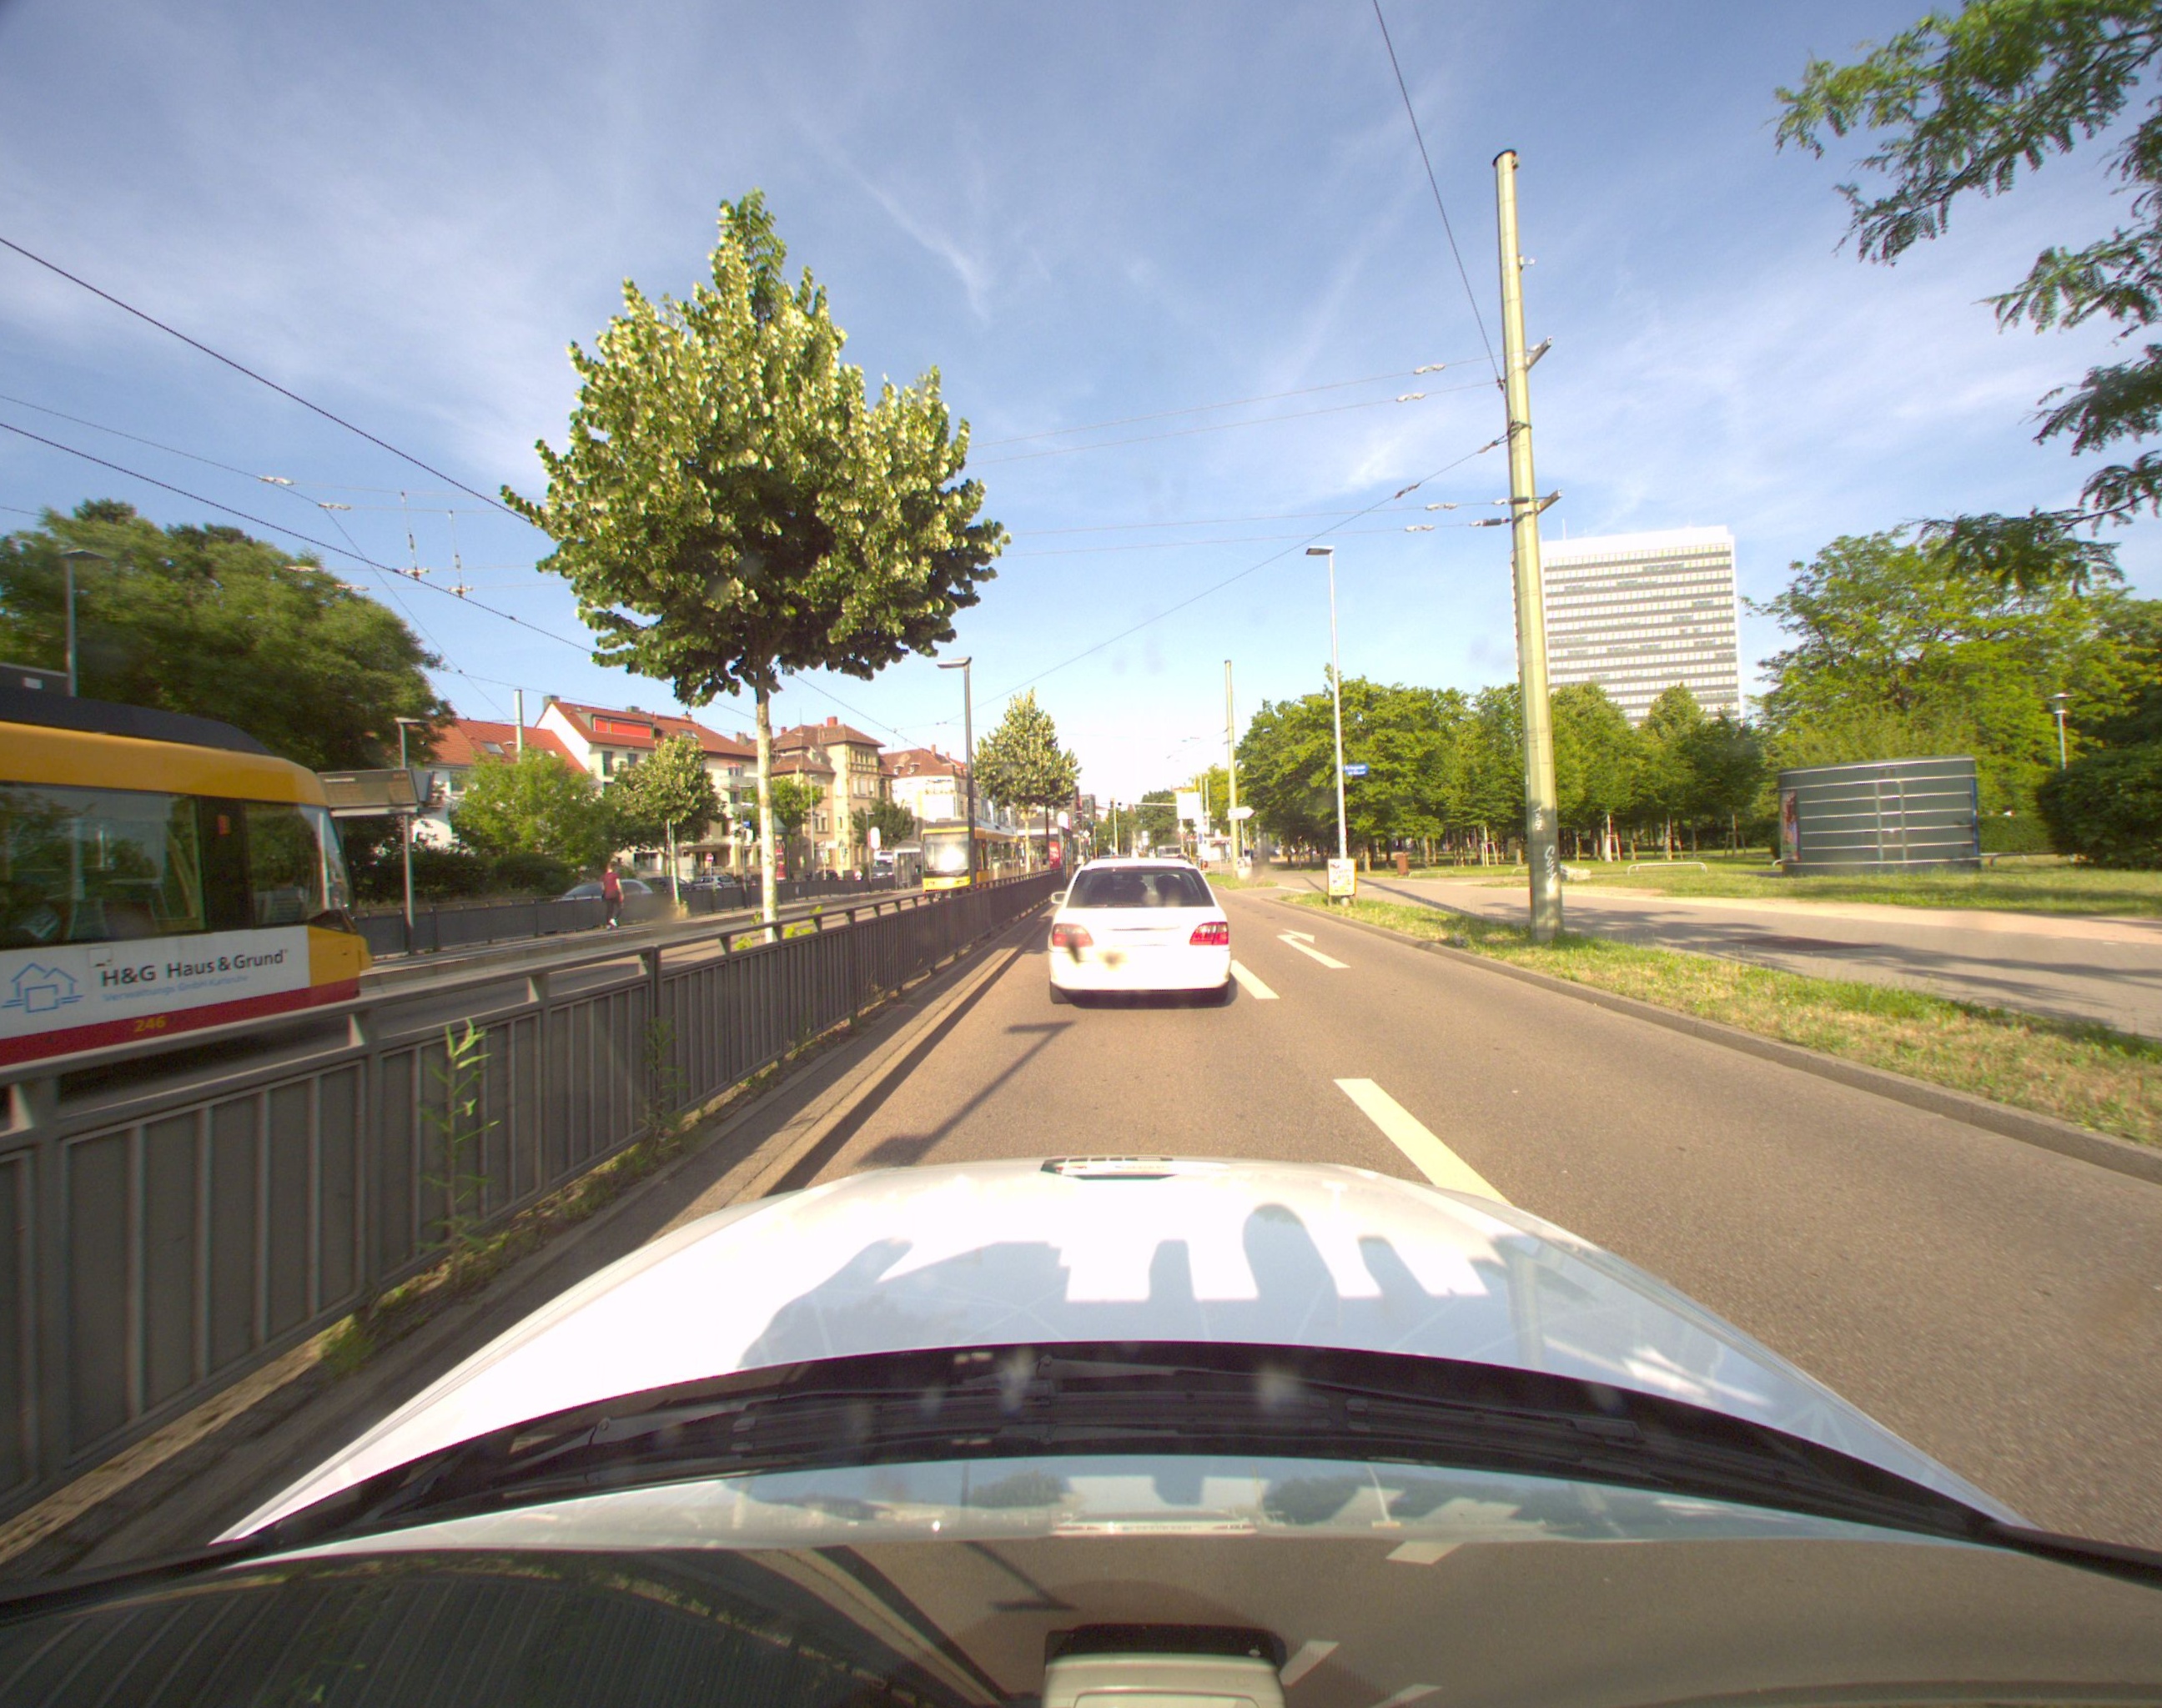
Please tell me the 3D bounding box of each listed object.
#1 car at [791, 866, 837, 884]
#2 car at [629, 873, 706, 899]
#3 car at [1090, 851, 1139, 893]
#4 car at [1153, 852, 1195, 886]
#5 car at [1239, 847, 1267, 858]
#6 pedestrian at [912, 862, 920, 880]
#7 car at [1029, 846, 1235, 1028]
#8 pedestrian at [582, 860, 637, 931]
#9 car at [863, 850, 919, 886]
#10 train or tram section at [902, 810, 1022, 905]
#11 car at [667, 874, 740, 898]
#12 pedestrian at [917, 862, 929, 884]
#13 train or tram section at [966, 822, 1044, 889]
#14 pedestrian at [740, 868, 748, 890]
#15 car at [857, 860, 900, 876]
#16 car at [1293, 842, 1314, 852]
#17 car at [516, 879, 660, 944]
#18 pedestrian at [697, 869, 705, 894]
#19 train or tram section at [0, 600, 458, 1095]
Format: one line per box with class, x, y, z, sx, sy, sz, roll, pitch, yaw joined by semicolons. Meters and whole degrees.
car;-27.389;2.159;83.570;3.953;1.750;2.010;-2;0;20
car;-25.721;1.994;50.710;3.956;1.398;2.009;-2;0;17
car;1.524;0.750;35.678;1.778;1.690;4.008;-2;0;7
car;4.801;0.736;42.027;2.022;1.605;4.007;-2;0;6
car;28.449;-0.218;134.633;3.949;1.651;2.012;-3;0;28
pedestrian;-17.186;1.776;84.832;0.662;1.753;0.747;-2;0;6
car;0.570;0.719;9.211;1.751;1.503;4.004;-3;1;3
pedestrian;-11.967;1.036;20.683;0.832;1.733;0.773;-3;0;2
car;-15.453;1.085;66.759;2.586;2.735;7.471;-2;0;2
train or tram section;-4.894;0.097;36.908;2.838;3.479;13.209;-1;0;3
car;-24.696;2.062;53.328;3.956;1.398;2.009;-2;0;16
pedestrian;-13.021;1.540;67.041;0.886;1.753;0.744;-2;0;-9
train or tram section;-4.347;0.051;49.952;2.838;3.479;13.208;-2;0;3
pedestrian;-30.593;2.250;73.909;0.417;2.013;0.436;-2;0;21
car;-22.785;1.569;91.934;2.183;1.628;4.744;-2;0;25
car;45.670;-1.437;167.244;3.956;1.651;2.009;-3;0;16
car;-15.334;1.732;25.633;1.986;1.684;4.001;-2;0;1
pedestrian;-31.626;2.299;67.818;0.379;2.013;0.410;-2;0;21
train or tram section;-9.293;0.004;2.445;3.149;3.479;14.480;-2;0;2
